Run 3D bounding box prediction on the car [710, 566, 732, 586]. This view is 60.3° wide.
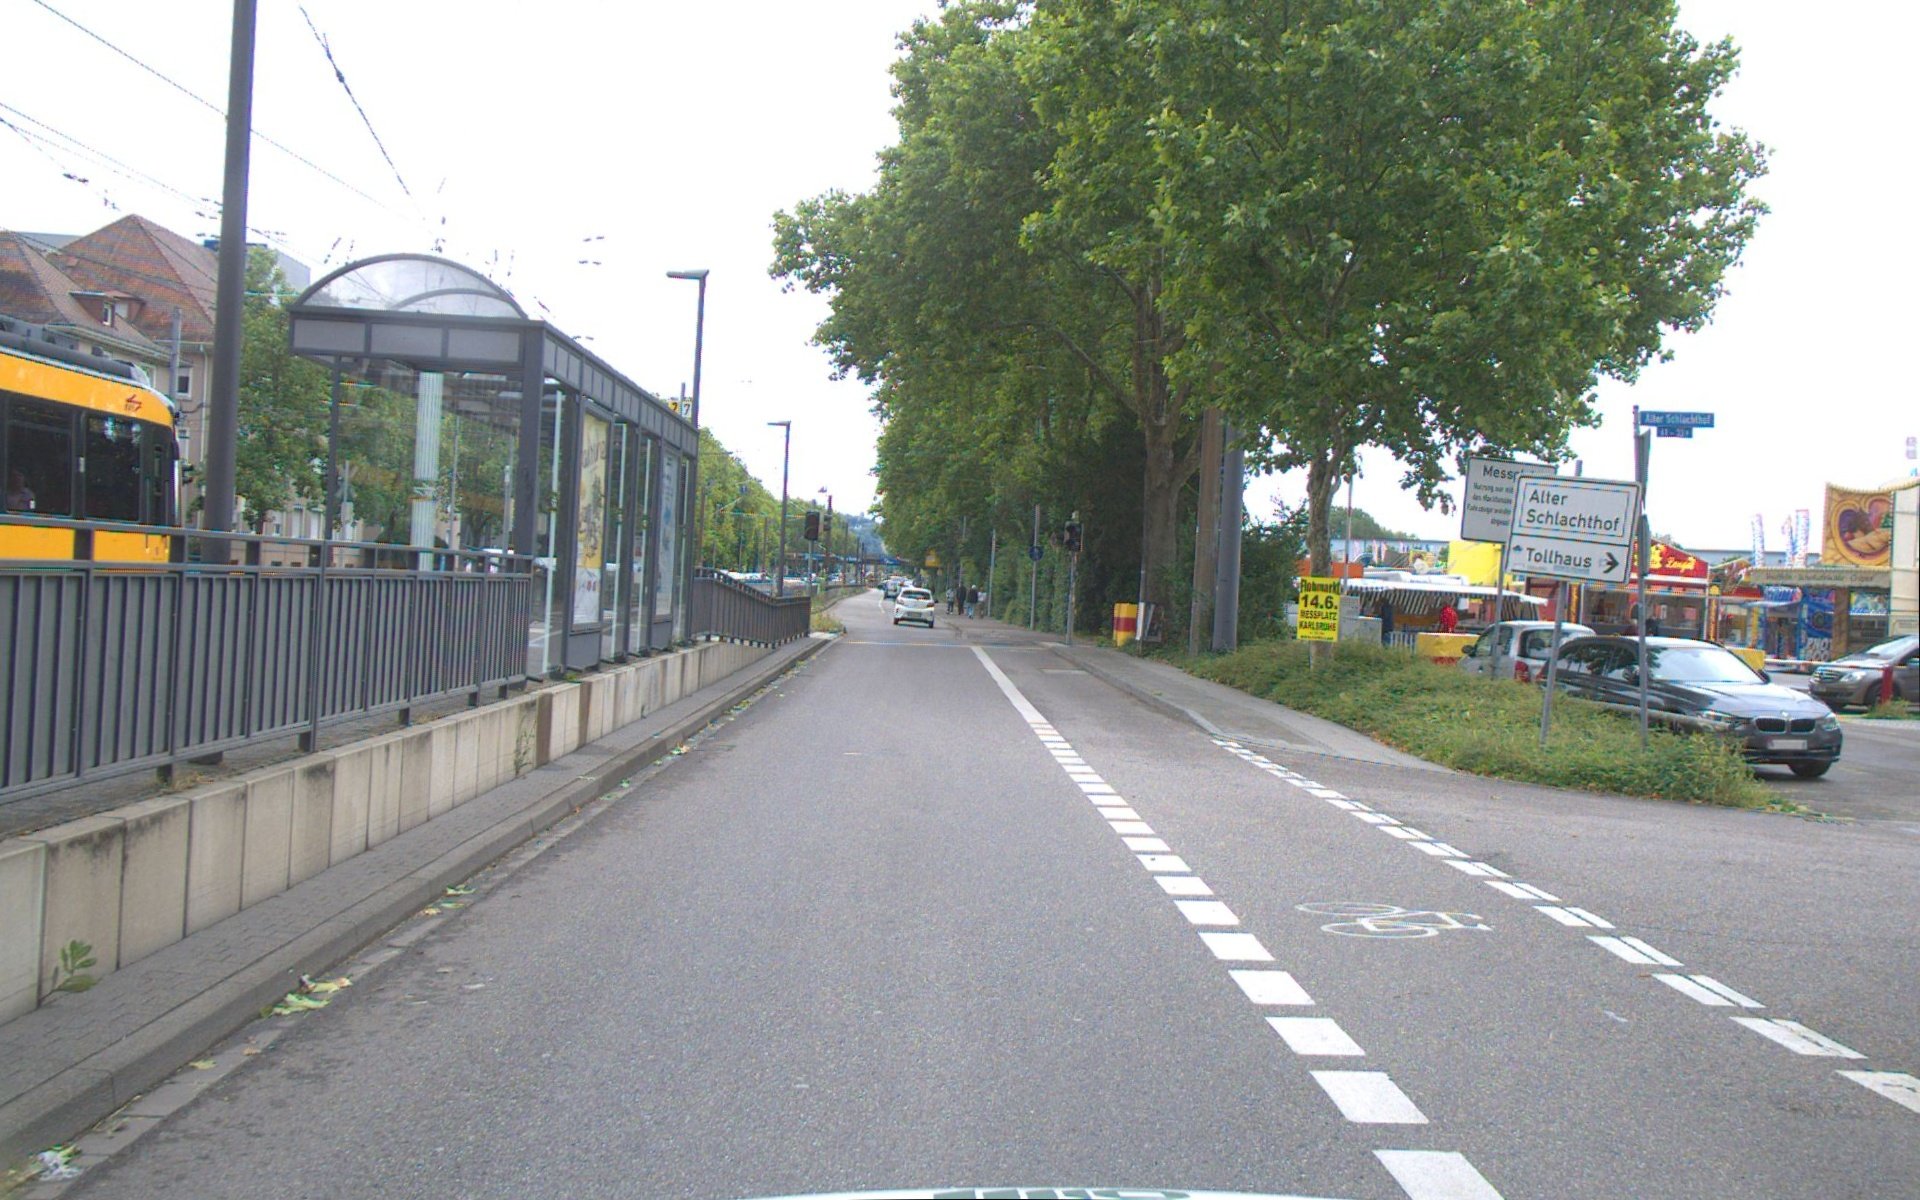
[{"bbox_3d":[-23.992,-2.389,166.255,1.955,1.825,3.995,3,0,-6],"label":"car"}]

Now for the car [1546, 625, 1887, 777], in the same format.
[{"bbox_3d":[8.688,1.100,19.420,1.827,1.455,3.995,3,0,-6],"label":"car"}]

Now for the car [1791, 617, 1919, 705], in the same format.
[{"bbox_3d":[19.258,1.260,32.860,4.483,1.603,1.999,3,0,-4],"label":"car"}]

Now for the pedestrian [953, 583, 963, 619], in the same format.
[{"bbox_3d":[-0.118,0.051,95.223,0.387,2.049,0.403,3,0,13],"label":"pedestrian"}]

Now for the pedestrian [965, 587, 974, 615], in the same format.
[{"bbox_3d":[0.504,0.039,87.103,0.387,1.469,0.563,3,0,3],"label":"pedestrian"}]

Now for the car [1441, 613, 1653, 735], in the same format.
[{"bbox_3d":[8.955,1.067,25.591,1.825,1.622,4.000,3,0,0],"label":"car"}]

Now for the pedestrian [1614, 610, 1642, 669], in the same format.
[{"bbox_3d":[19.785,1.177,48.981,0.514,1.716,0.492,3,0,-18],"label":"pedestrian"}]

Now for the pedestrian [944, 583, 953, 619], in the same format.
[{"bbox_3d":[-0.665,0.068,95.324,0.387,2.049,0.403,3,0,13],"label":"pedestrian"}]

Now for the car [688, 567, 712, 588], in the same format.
[{"bbox_3d":[-25.104,-2.157,160.023,1.955,1.825,3.995,3,0,-6],"label":"car"}]

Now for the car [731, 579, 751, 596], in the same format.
[{"bbox_3d":[-24.360,-1.363,184.051,1.955,1.825,3.995,3,0,-6],"label":"car"}]

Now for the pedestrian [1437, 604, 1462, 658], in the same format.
[{"bbox_3d":[13.858,0.873,46.821,0.483,1.488,0.523,3,0,-5],"label":"pedestrian"}]

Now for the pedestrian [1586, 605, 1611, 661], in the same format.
[{"bbox_3d":[19.998,1.034,51.812,0.483,1.716,0.523,3,0,-5],"label":"pedestrian"}]

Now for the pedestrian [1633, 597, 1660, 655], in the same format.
[{"bbox_3d":[20.533,0.777,49.466,0.514,1.716,0.492,3,0,-18],"label":"pedestrian"}]

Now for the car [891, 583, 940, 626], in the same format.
[{"bbox_3d":[-1.740,0.143,65.810,1.803,1.579,3.999,2,0,-1],"label":"car"}]

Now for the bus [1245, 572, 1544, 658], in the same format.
[{"bbox_3d":[13.937,0.486,53.222,9.096,2.266,1.998,3,0,-5],"label":"bus"}]

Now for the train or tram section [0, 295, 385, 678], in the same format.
[{"bbox_3d":[-12.469,-1.331,24.332,3.116,4.251,14.728,3,0,-2],"label":"train or tram section"}]

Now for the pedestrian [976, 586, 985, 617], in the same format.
[{"bbox_3d":[1.066,0.083,87.109,0.387,1.613,0.538,3,0,3],"label":"pedestrian"}]

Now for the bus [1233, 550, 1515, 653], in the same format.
[{"bbox_3d":[14.056,0.061,56.345,9.096,3.011,1.998,3,0,-5],"label":"bus"}]
